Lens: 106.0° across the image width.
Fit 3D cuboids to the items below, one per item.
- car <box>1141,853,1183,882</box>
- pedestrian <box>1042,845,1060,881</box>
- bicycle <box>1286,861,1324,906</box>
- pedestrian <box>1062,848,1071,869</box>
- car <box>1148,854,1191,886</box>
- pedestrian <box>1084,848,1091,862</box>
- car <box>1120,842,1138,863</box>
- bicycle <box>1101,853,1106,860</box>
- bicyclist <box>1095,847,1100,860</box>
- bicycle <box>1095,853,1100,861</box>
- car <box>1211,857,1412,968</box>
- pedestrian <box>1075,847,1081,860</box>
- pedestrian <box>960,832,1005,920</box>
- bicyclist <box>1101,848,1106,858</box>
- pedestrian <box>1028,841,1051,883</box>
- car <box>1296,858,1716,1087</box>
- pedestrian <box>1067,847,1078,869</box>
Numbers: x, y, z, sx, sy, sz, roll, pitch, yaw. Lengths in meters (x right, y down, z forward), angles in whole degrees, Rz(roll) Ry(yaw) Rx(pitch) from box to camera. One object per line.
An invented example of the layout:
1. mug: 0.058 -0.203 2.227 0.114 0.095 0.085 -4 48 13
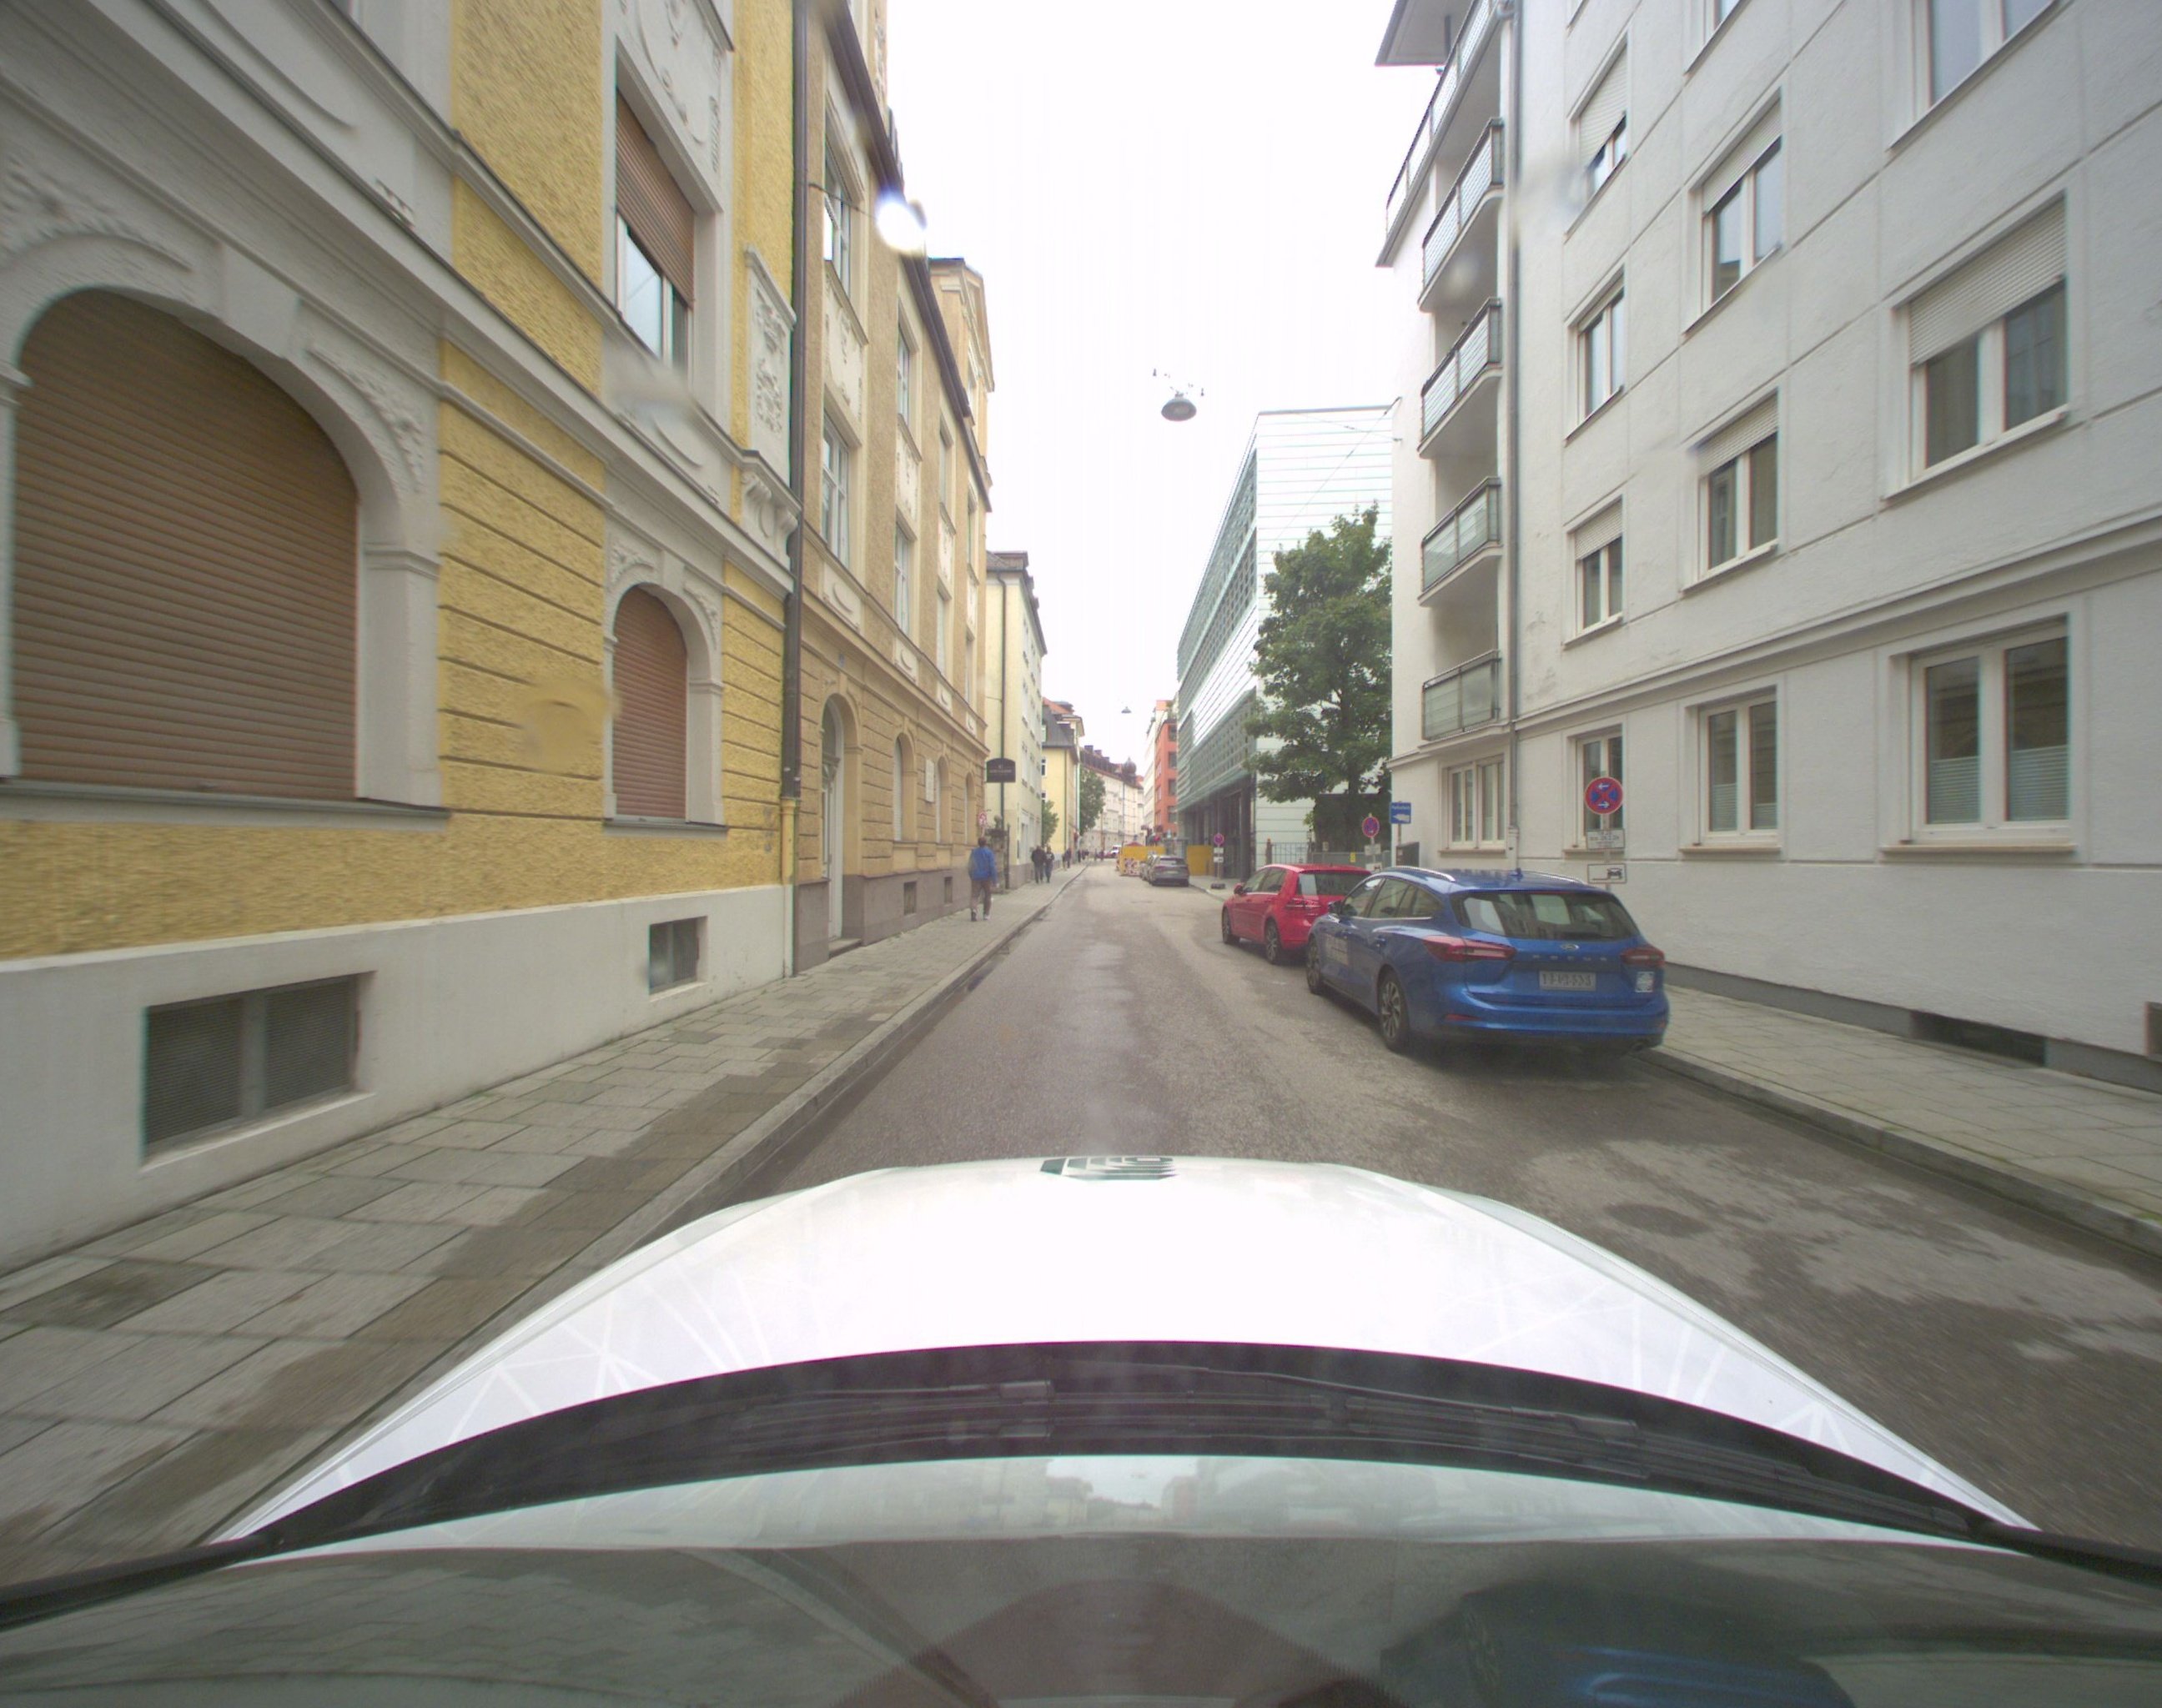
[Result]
1. car: 4.357 0.697 44.512 1.703 1.467 4.234 2 0 -2
2. pedestrian: -1.444 0.409 39.121 0.710 1.666 0.930 3 0 1
3. bicycle: 6.630 0.852 24.171 0.705 1.198 1.835 0 3 2
4. pedestrian: -1.187 0.371 66.383 0.645 1.676 0.724 1 0 0
5. car: 4.204 0.723 39.218 1.702 1.432 4.330 0 0 1
6. pedestrian: 0.779 0.083 99.420 0.836 1.700 0.803 1 0 1
7. car: 6.014 -0.210 101.797 1.987 2.536 4.975 1 0 1
8. bicycle: 3.031 0.382 110.545 0.705 0.905 1.810 0 0 1
9. bicyclist: 2.178 -0.079 107.572 0.657 1.643 0.895 0 0 1
10. bicycle: 2.181 0.348 107.681 0.659 1.039 2.005 0 0 1
11. car: 3.481 0.807 13.186 1.757 1.447 4.292 2 0 -4
12. pedestrian: -0.349 -0.080 99.592 0.668 1.648 0.761 1 0 0
13. pedestrian: -2.135 0.469 17.780 0.754 1.854 1.077 2 0 1
14. bicyclist: 3.019 -0.102 110.742 0.705 1.371 0.813 0 0 1
15. pedestrian: -1.831 0.341 36.067 0.902 1.827 0.956 1 0 0
16. car: 3.382 0.788 7.575 1.787 1.438 4.386 2 0 3
17. pedestrian: -0.746 0.348 72.558 0.865 1.881 1.135 1 0 0
